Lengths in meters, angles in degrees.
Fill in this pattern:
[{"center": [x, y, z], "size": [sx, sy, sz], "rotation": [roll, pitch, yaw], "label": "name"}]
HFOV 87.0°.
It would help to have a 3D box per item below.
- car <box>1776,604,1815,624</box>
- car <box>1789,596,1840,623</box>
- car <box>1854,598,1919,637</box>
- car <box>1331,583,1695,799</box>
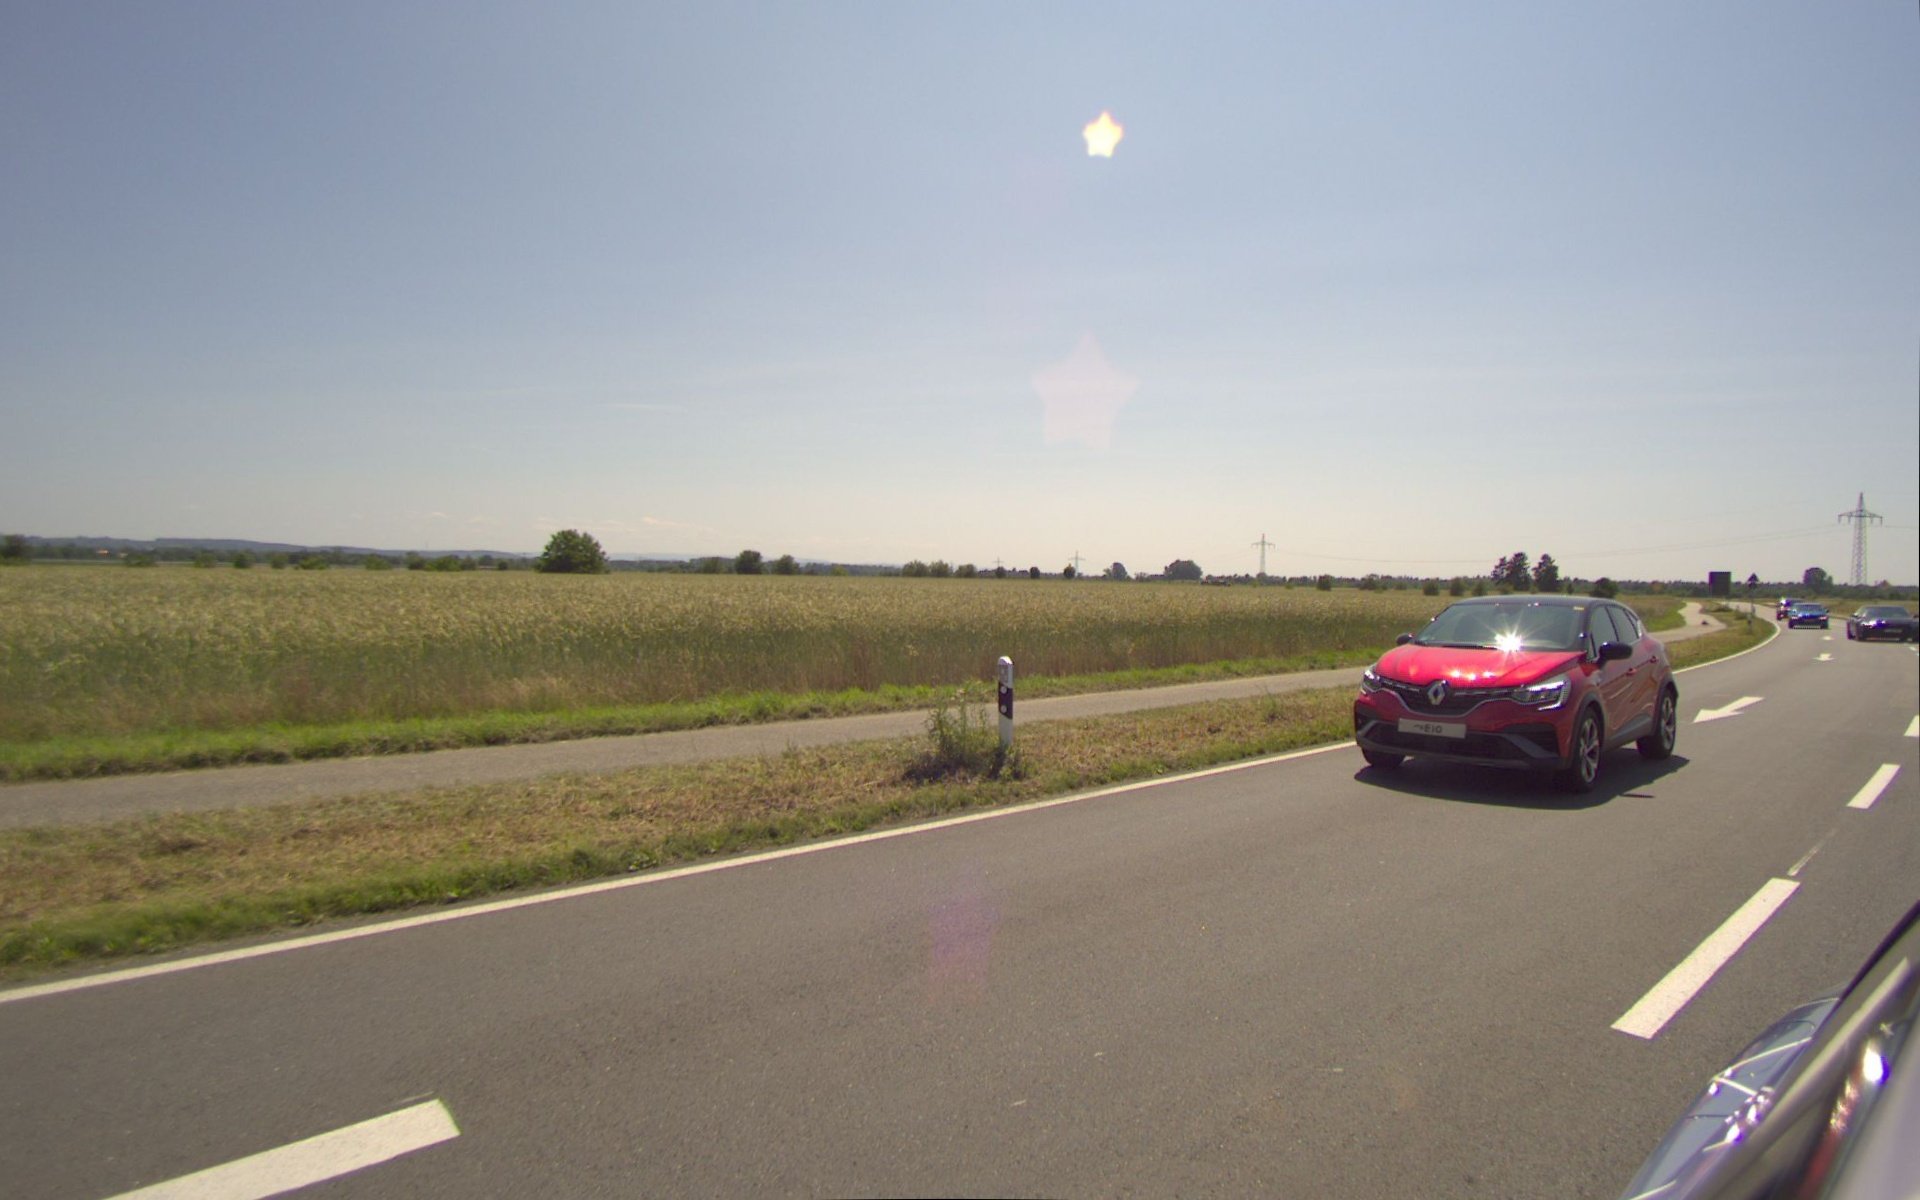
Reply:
[{"center": [66.853, 1.072, 80.967], "size": [2.183, 1.485, 4.937], "rotation": [0, 0, 42], "label": "car"}, {"center": [50.080, 0.538, 59.406], "size": [2.180, 1.485, 4.943], "rotation": [0, 0, 39], "label": "car"}, {"center": [37.372, 0.660, 40.443], "size": [2.180, 1.485, 4.944], "rotation": [0, 0, 38], "label": "car"}, {"center": [5.379, 0.650, 9.559], "size": [4.376, 1.572, 1.823], "rotation": [0, 0, -44], "label": "car"}]
